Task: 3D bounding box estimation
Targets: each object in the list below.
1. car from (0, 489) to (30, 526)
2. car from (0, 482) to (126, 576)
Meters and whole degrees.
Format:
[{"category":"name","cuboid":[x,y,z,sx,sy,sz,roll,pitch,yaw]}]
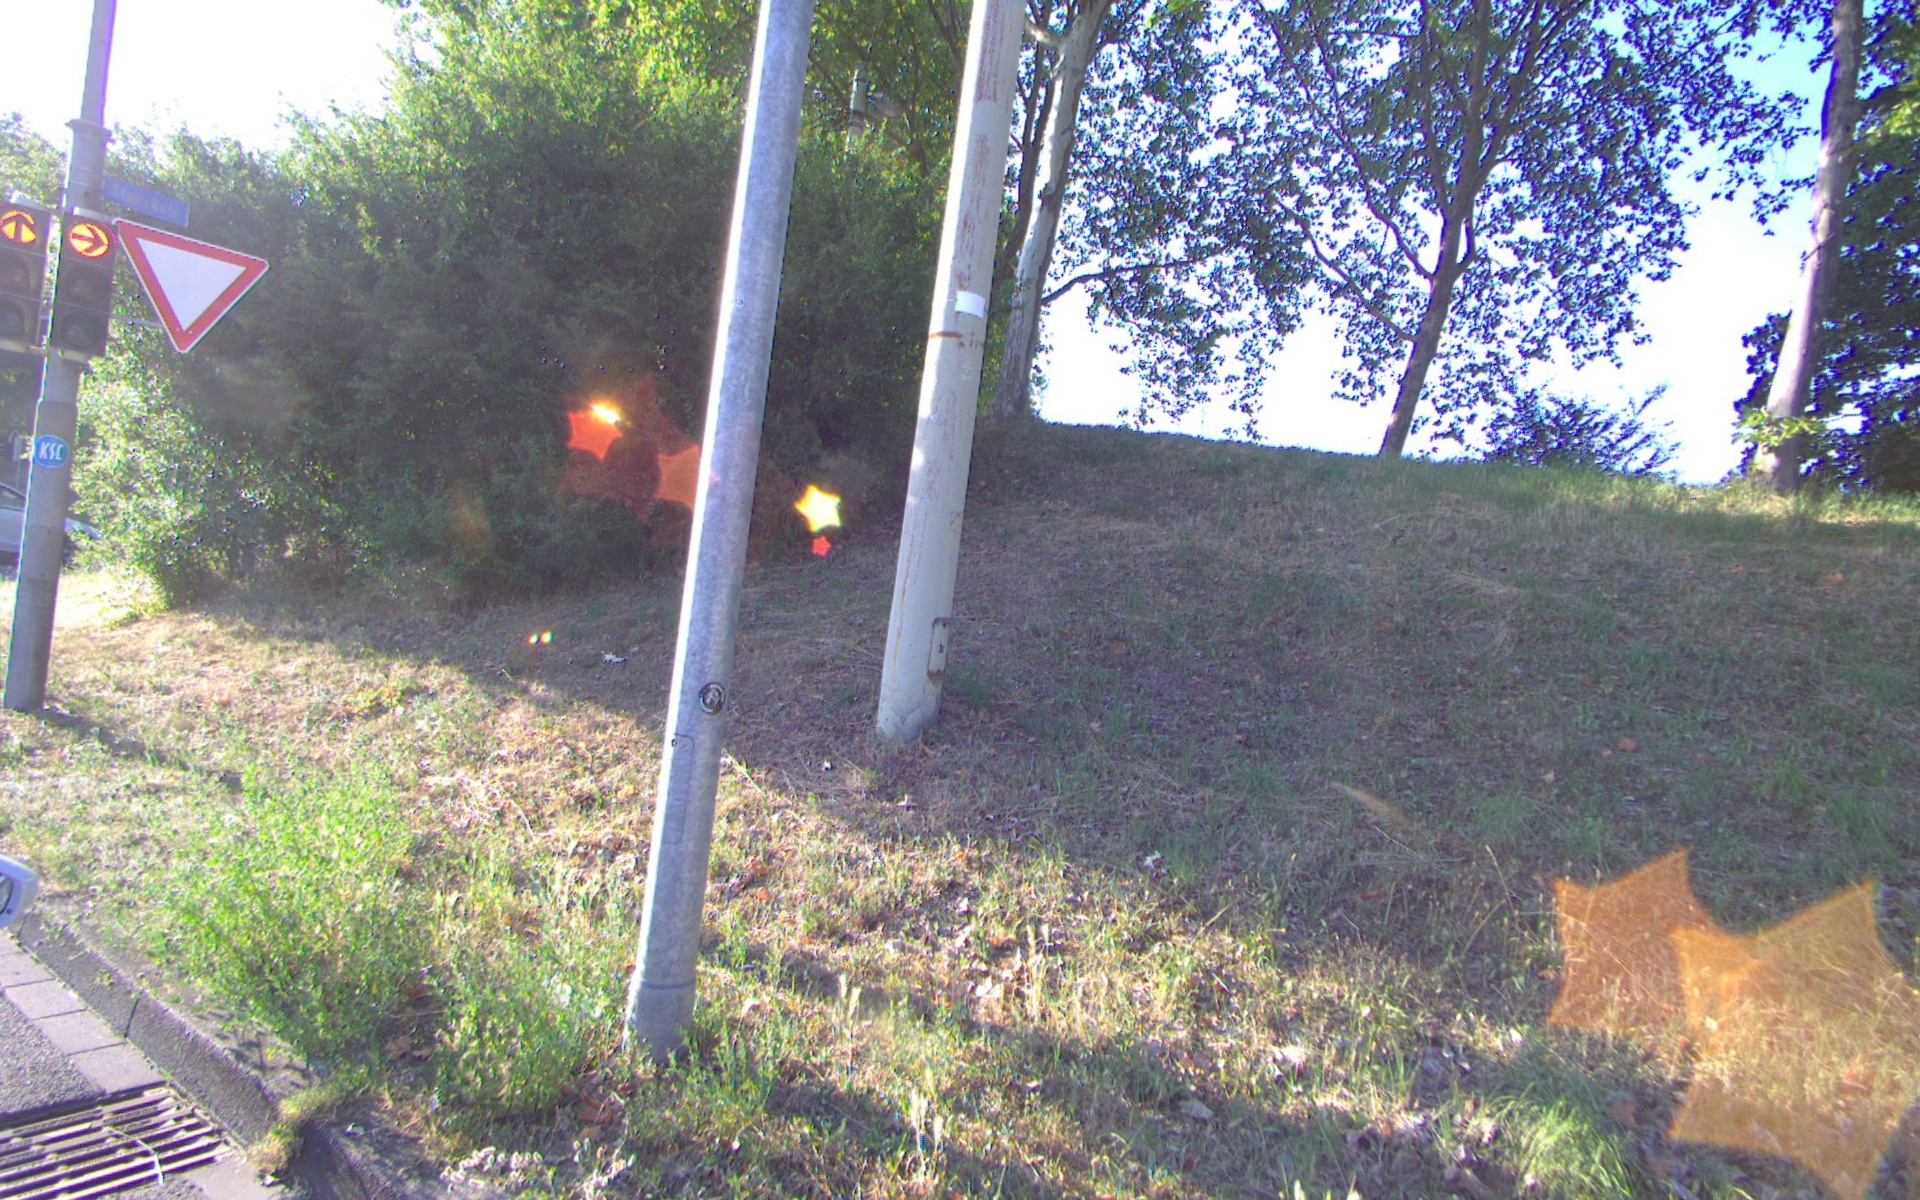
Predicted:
[{"category":"car","cuboid":[-44.293,-4.397,44.674,1.661,1.529,4.012,7,-2,13]},{"category":"car","cuboid":[-19.010,-1.537,19.103,1.661,1.593,4.773,7,-2,11]}]
